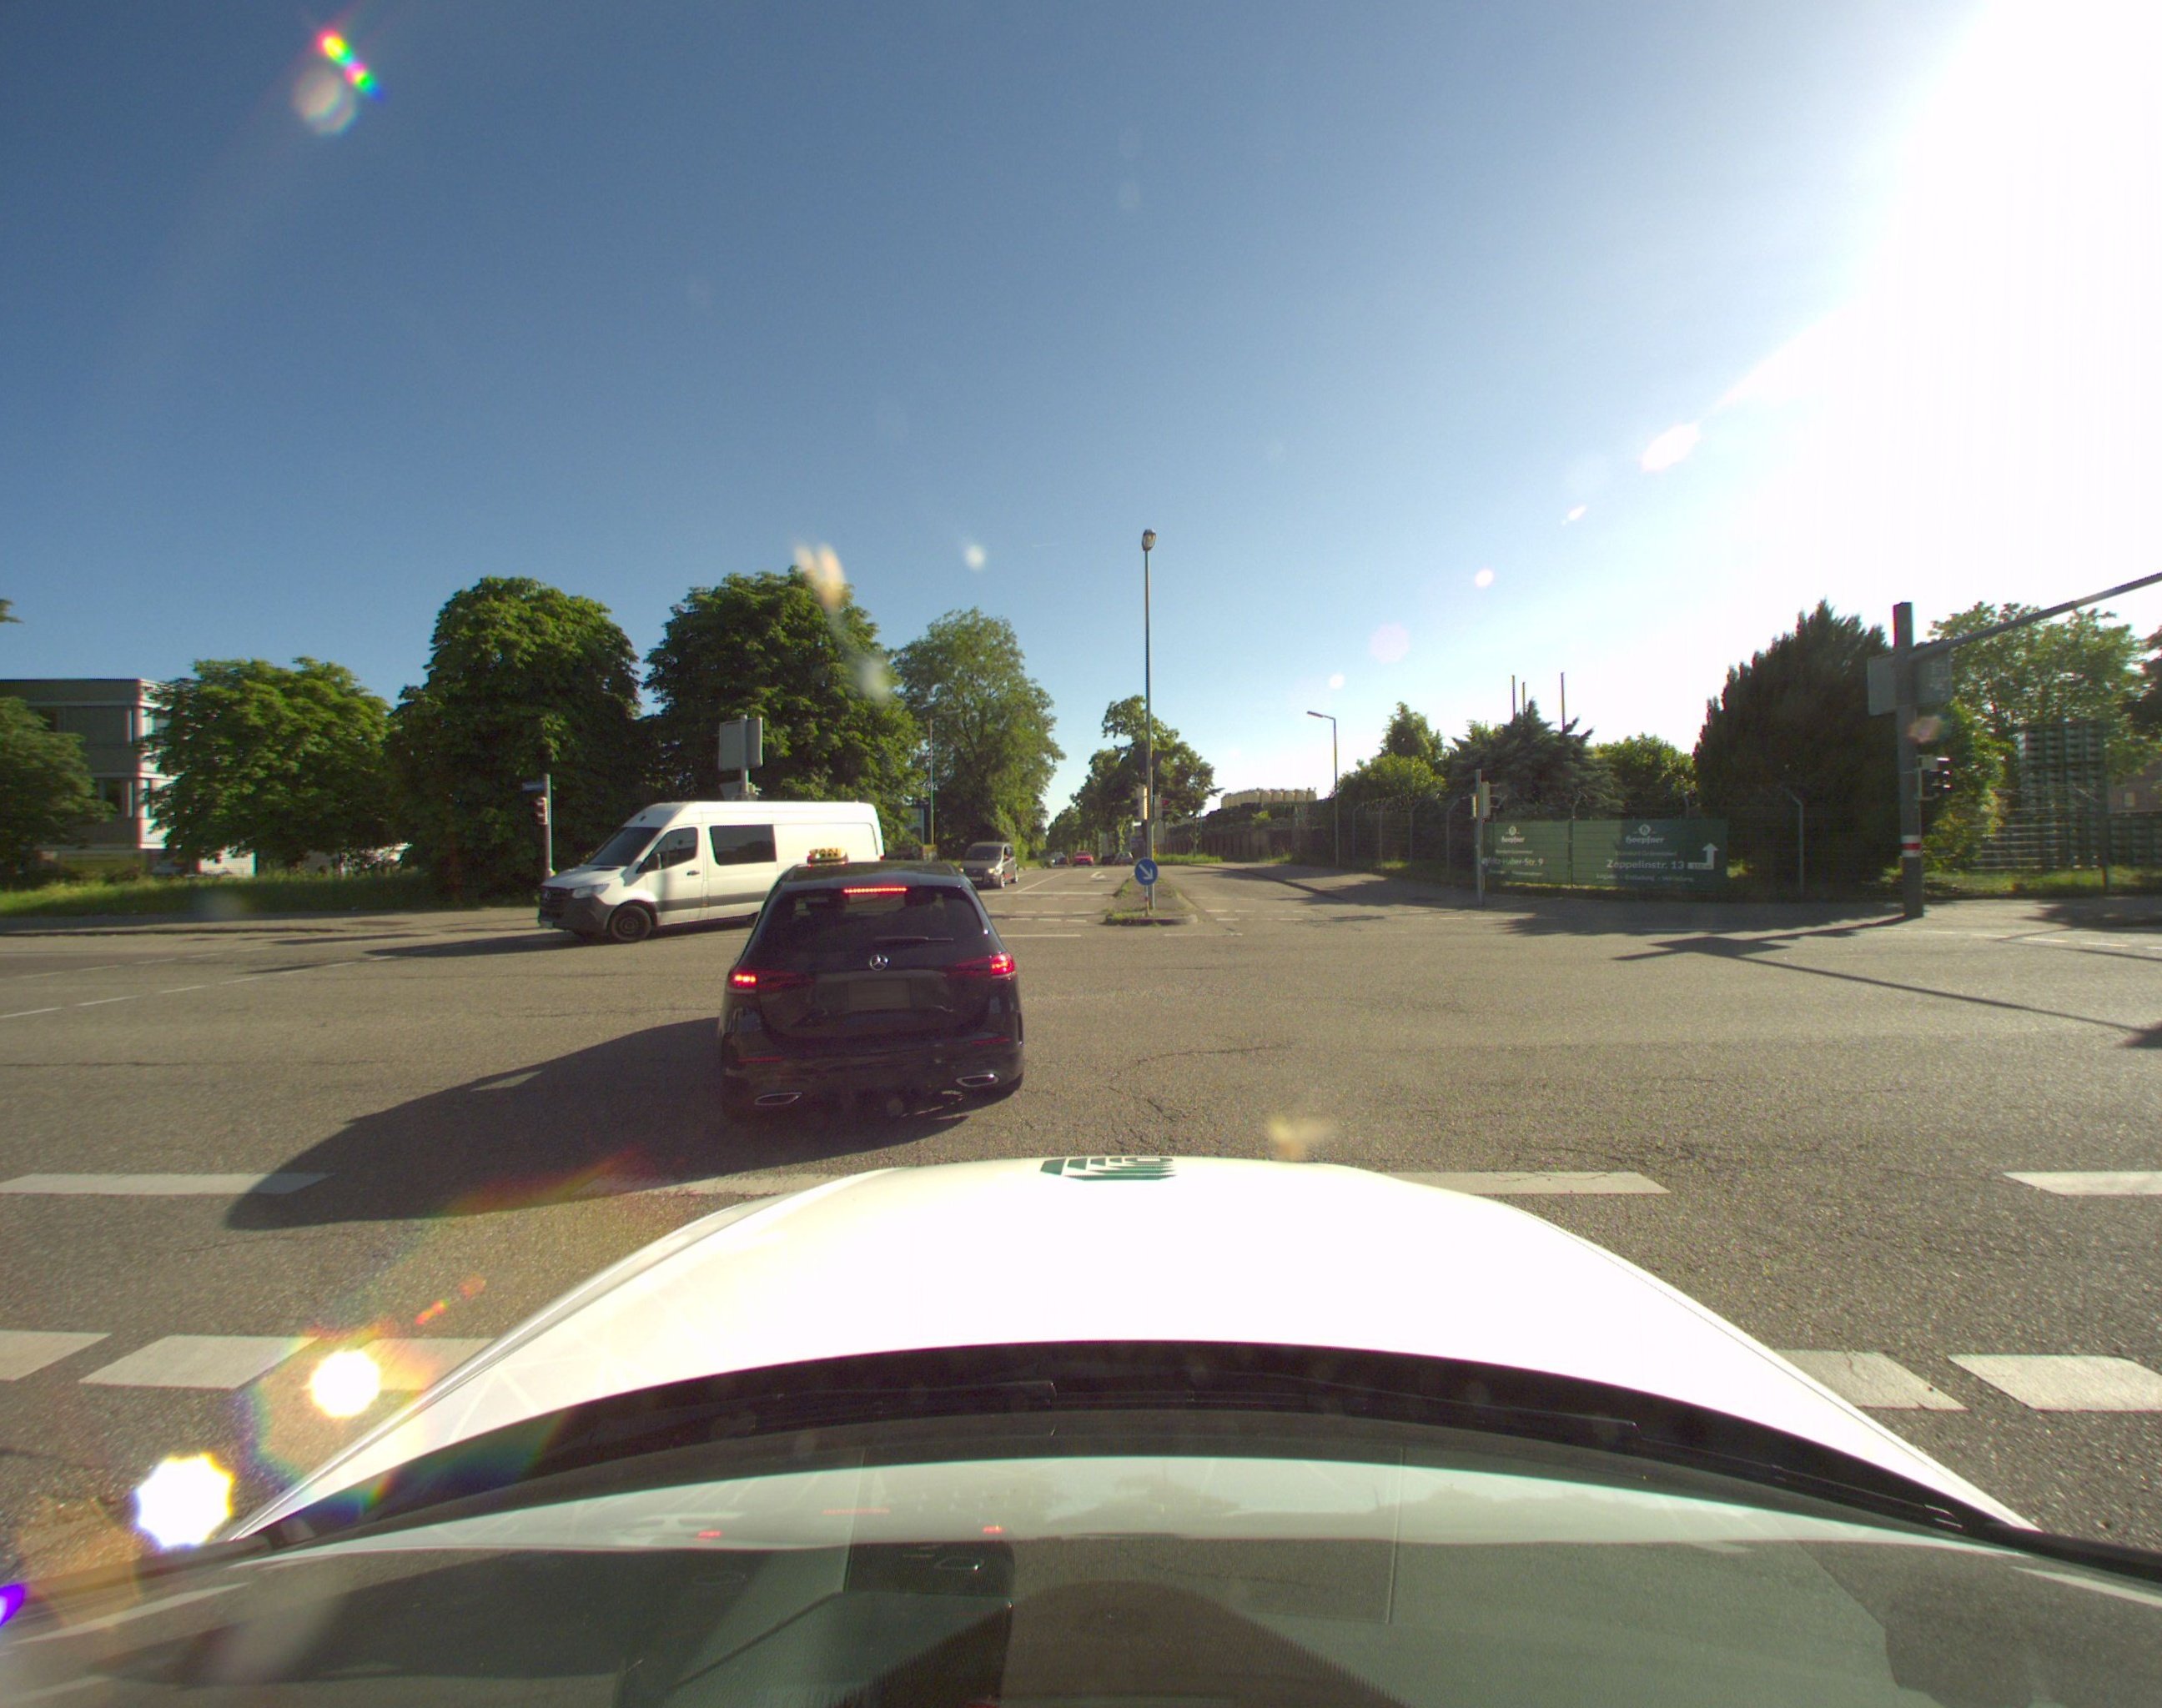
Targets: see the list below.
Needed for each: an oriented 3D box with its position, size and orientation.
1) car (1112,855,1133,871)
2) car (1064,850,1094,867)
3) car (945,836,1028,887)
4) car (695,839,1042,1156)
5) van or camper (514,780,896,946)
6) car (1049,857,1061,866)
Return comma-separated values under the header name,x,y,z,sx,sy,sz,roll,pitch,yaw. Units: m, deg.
name,x,y,z,sx,sy,sz,roll,pitch,yaw
car,4.311,0.940,84.406,1.686,1.632,3.125,-1,0,-5
car,-0.230,0.392,75.156,1.860,1.469,4.119,-1,0,-14
car,-3.226,0.253,28.650,1.793,1.640,4.011,-1,0,10
car,-1.506,0.735,6.304,1.771,1.592,3.972,-1,0,-12
van or camper,-7.323,0.169,17.042,2.204,2.739,7.125,-1,-1,35
car,-4.373,1.190,136.082,1.853,1.469,4.135,-1,0,-2
